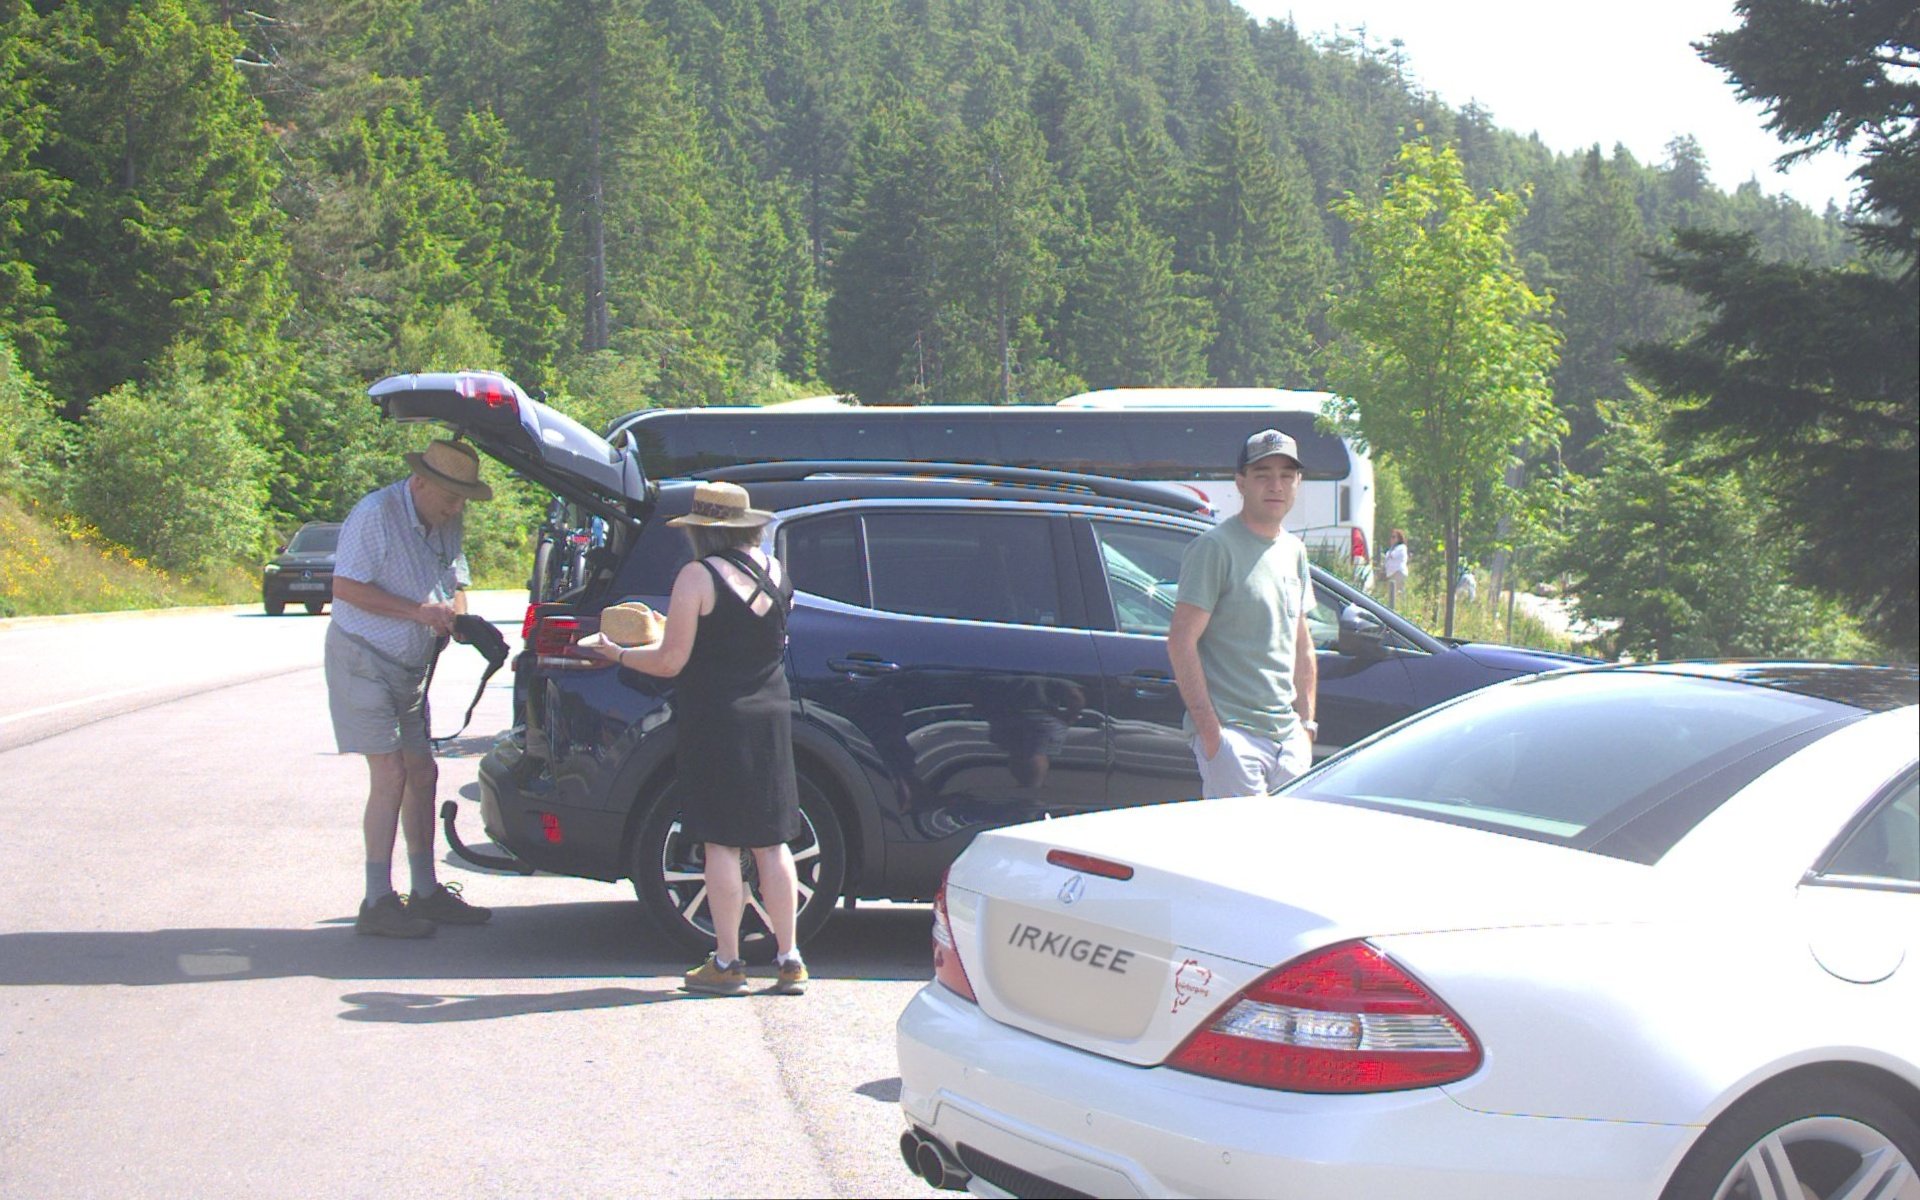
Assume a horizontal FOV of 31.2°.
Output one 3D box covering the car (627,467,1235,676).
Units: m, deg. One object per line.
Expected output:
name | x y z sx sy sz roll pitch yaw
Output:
car | -0.280 -0.264 29.621 5.033 1.645 2.048 -1 1 -3

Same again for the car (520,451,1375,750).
car | -0.078 -0.022 20.934 4.949 1.690 1.945 -1 1 -1

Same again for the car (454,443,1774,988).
car | 0.432 0.390 12.229 4.343 1.620 1.870 3 0 -8

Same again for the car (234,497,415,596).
car | -11.363 -0.994 61.786 1.994 1.641 4.567 -1 2 5

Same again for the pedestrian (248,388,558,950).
pedestrian | -1.934 0.205 11.971 0.736 1.864 0.757 3 4 27

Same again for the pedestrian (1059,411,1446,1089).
pedestrian | 0.812 0.394 9.598 0.746 1.794 0.736 1 0 -35

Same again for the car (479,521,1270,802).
car | -0.526 0.312 18.701 4.080 1.372 1.703 1 1 -9

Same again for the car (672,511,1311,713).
car | 0.176 0.053 23.839 4.243 1.264 1.838 -1 1 -3

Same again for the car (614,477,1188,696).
car | -0.472 -0.124 26.495 4.243 1.548 1.838 -1 1 -3

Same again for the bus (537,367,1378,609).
bus | 0.049 -1.753 54.935 13.097 3.520 3.043 -1 1 8

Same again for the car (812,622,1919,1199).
car | 2.094 0.780 6.769 4.397 1.291 1.756 2 2 -26

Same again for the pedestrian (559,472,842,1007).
pedestrian | -0.812 0.420 10.700 0.714 1.607 0.537 1 0 -23
